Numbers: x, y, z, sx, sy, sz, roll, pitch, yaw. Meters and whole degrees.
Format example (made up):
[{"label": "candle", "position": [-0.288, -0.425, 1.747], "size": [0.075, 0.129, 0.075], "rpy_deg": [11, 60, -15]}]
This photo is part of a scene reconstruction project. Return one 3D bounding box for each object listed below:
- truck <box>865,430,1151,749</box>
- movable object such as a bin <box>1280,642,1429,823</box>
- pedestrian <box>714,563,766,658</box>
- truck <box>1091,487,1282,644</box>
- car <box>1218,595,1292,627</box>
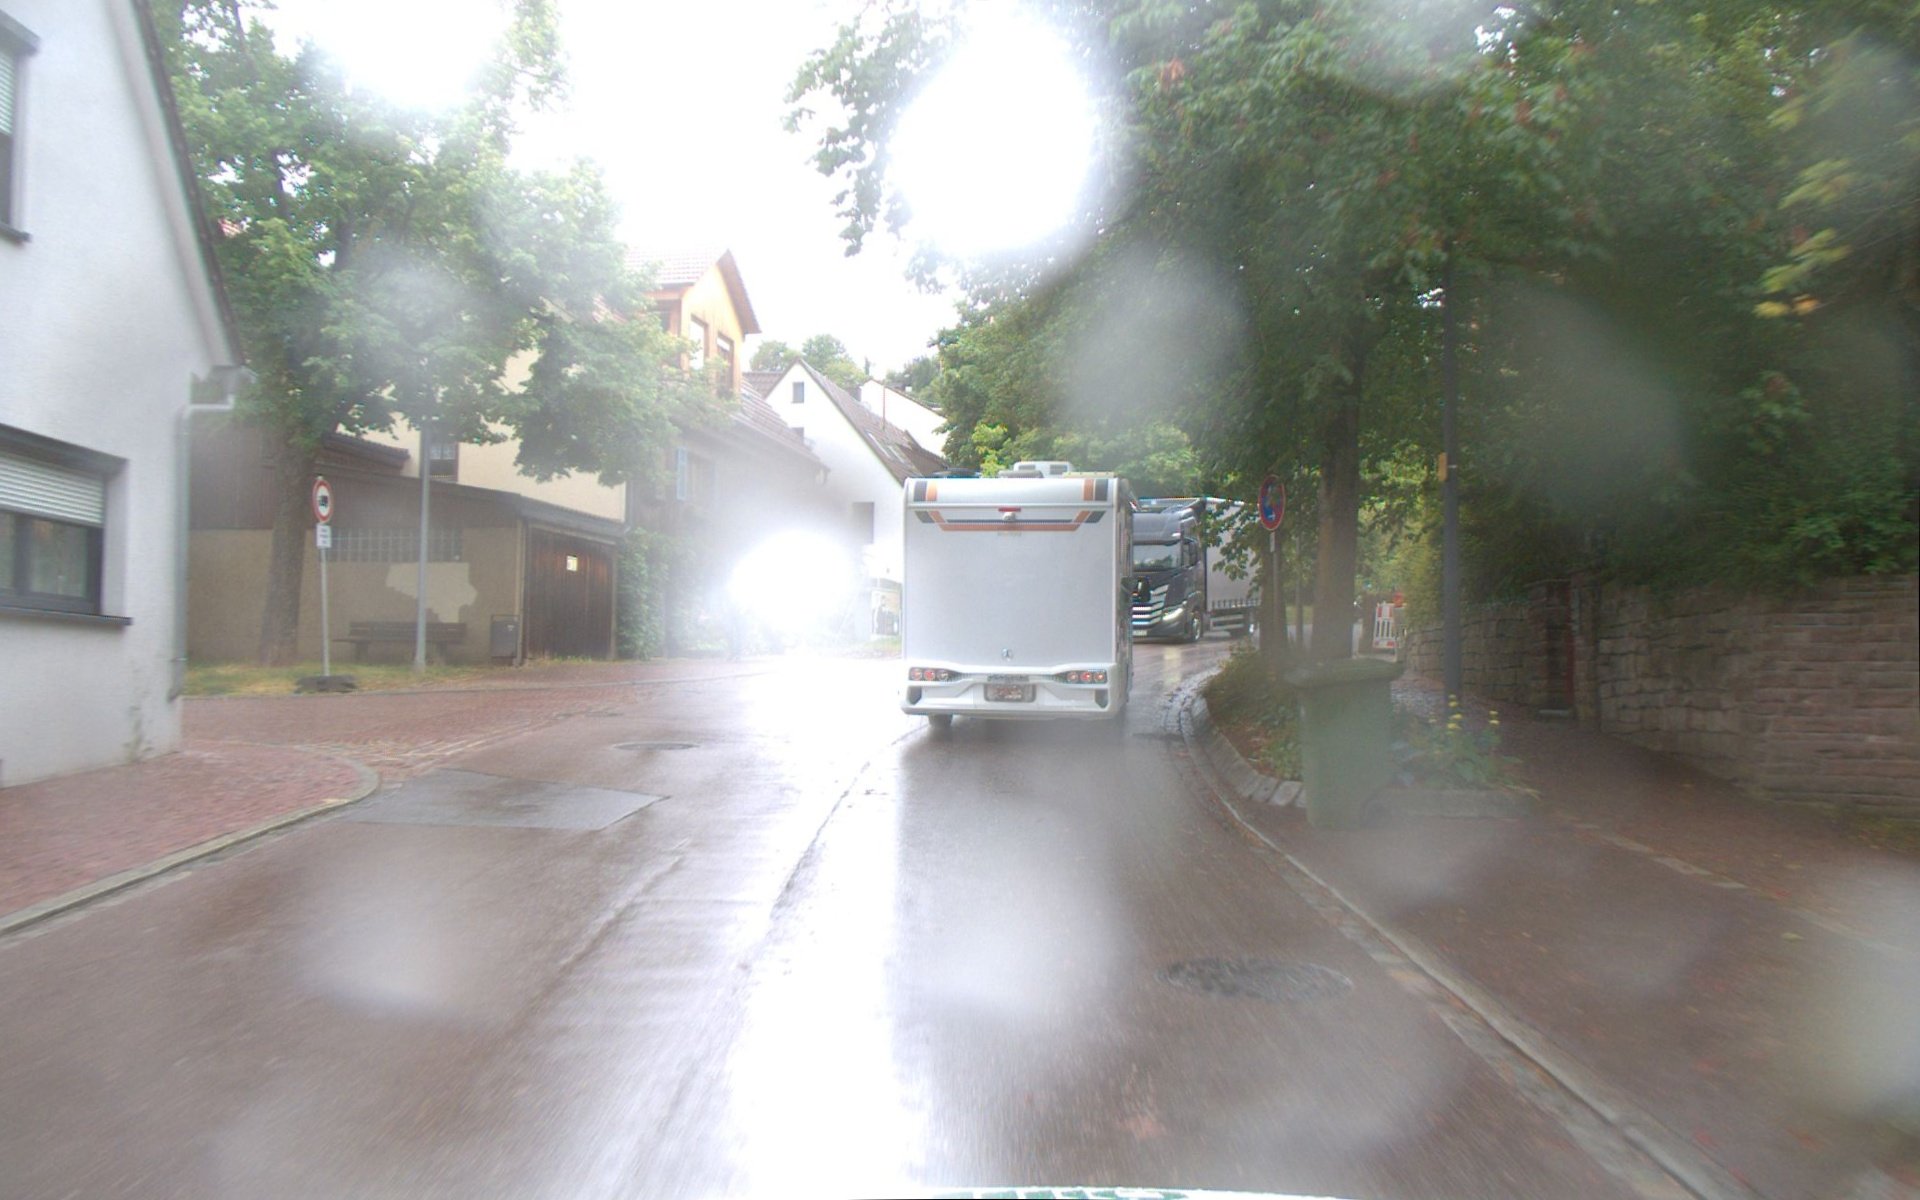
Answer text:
[{"label": "truck", "position": [0.811, -0.131, 19.194], "size": [2.637, 3.038, 6.241], "rpy_deg": [2, 0, 7]}, {"label": "movable object such as a bin", "position": [2.639, 0.869, 11.148], "size": [0.753, 1.126, 0.884], "rpy_deg": [-1, 0, -1]}, {"label": "pedestrian", "position": [-4.476, 0.217, 33.752], "size": [0.776, 1.901, 0.917], "rpy_deg": [0, -1, 11]}, {"label": "truck", "position": [7.040, -0.947, 49.826], "size": [2.782, 4.239, 9.968], "rpy_deg": [1, 0, 26]}, {"label": "car", "position": [17.065, 0.627, 95.662], "size": [3.905, 1.793, 2.000], "rpy_deg": [1, -1, -1]}]
